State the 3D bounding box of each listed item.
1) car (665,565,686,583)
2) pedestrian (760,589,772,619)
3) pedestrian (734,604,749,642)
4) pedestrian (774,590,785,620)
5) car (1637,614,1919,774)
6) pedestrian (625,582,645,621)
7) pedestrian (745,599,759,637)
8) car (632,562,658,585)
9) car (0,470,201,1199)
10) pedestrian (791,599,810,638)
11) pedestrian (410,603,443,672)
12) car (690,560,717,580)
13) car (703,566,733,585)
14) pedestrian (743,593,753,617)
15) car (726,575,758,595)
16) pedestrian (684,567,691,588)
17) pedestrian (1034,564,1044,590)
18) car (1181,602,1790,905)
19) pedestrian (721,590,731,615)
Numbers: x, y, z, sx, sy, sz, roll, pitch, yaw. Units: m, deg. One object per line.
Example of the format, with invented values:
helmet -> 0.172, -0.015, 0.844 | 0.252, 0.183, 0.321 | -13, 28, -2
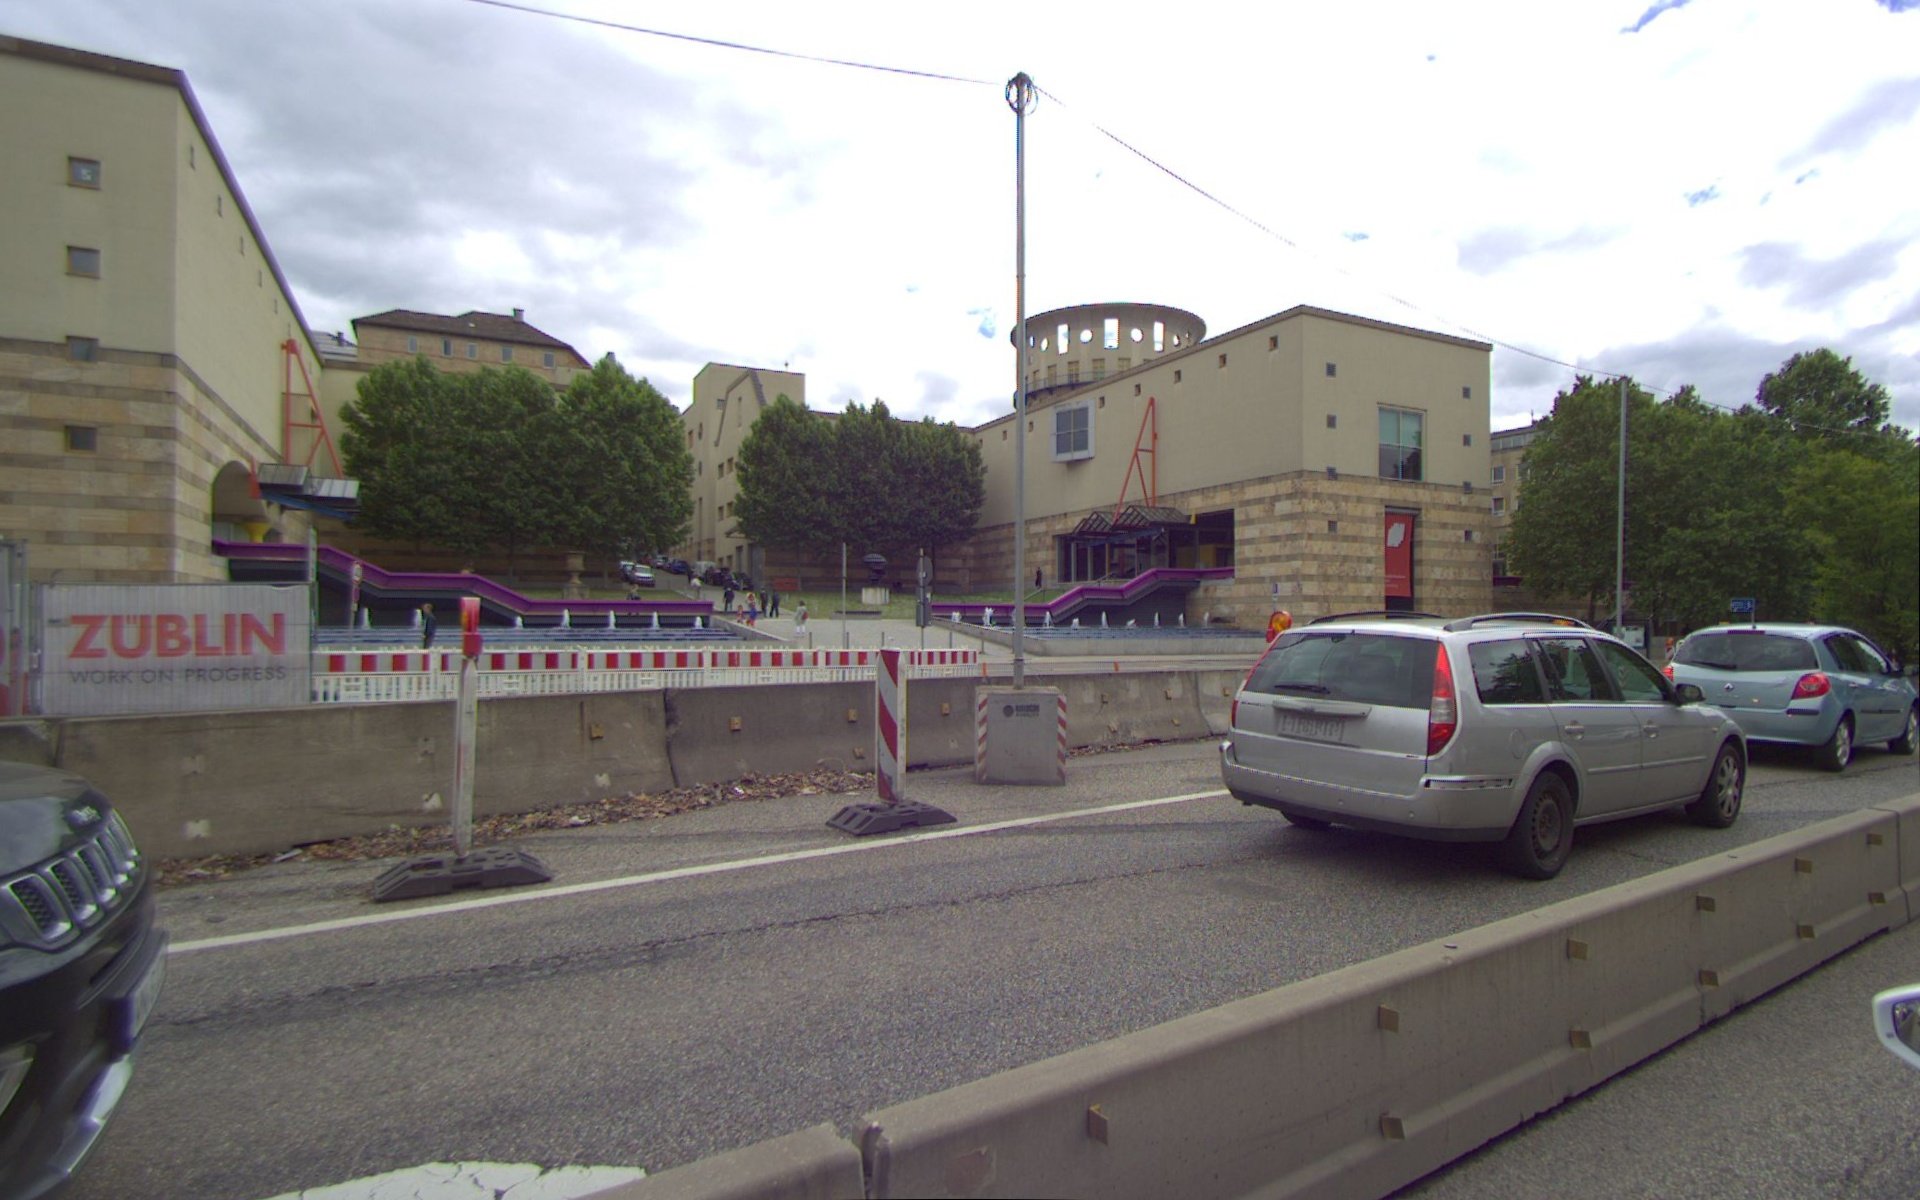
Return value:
car -> -30.040, -2.767, 105.920 | 1.588, 1.822, 3.784 | 2, 1, -24
pedestrian -> -11.498, 0.251, 59.422 | 0.472, 1.772, 0.642 | 1, 0, -29
pedestrian -> -10.246, 1.078, 47.086 | 0.520, 1.717, 0.693 | 1, 0, -28
pedestrian -> -10.697, 0.291, 59.537 | 0.472, 1.772, 0.642 | 1, 0, -29
car -> 9.560, 0.964, 11.537 | 3.814, 1.527, 1.662 | 2, 0, -34
pedestrian -> -16.220, 0.068, 50.170 | 0.793, 1.877, 0.689 | 2, 1, -27
pedestrian -> -9.505, 0.818, 45.922 | 0.520, 1.717, 0.340 | 1, 0, -28
car -> -26.351, -2.200, 83.993 | 1.588, 1.822, 3.784 | 1, 0, -24
car -> -3.592, 0.559, 1.279 | 4.003, 1.642, 1.766 | 2, -1, -33
pedestrian -> -7.151, 0.818, 45.101 | 0.690, 1.717, 0.522 | 1, 0, -31
pedestrian -> -16.037, 1.119, 30.224 | 0.804, 2.040, 0.842 | 2, 1, -27
car -> -23.875, -2.776, 93.578 | 1.590, 1.822, 3.780 | 2, 1, -28
car -> -21.127, -2.154, 87.658 | 1.590, 1.557, 3.780 | 2, 1, -28
pedestrian -> -12.654, 0.301, 59.964 | 0.472, 1.441, 0.402 | 1, 0, -29
car -> -17.834, -1.264, 81.918 | 1.590, 1.557, 3.780 | 2, 1, -28
pedestrian -> -23.665, -1.952, 87.249 | 0.535, 1.808, 0.464 | 2, -1, -25
pedestrian -> 6.230, -1.820, 79.634 | 0.593, 2.040, 0.409 | 2, 1, -28
car -> 3.890, 0.823, 7.118 | 4.656, 1.501, 1.866 | 2, 0, -35
pedestrian -> -14.054, 0.148, 60.342 | 0.472, 1.441, 0.402 | 1, 0, -29
